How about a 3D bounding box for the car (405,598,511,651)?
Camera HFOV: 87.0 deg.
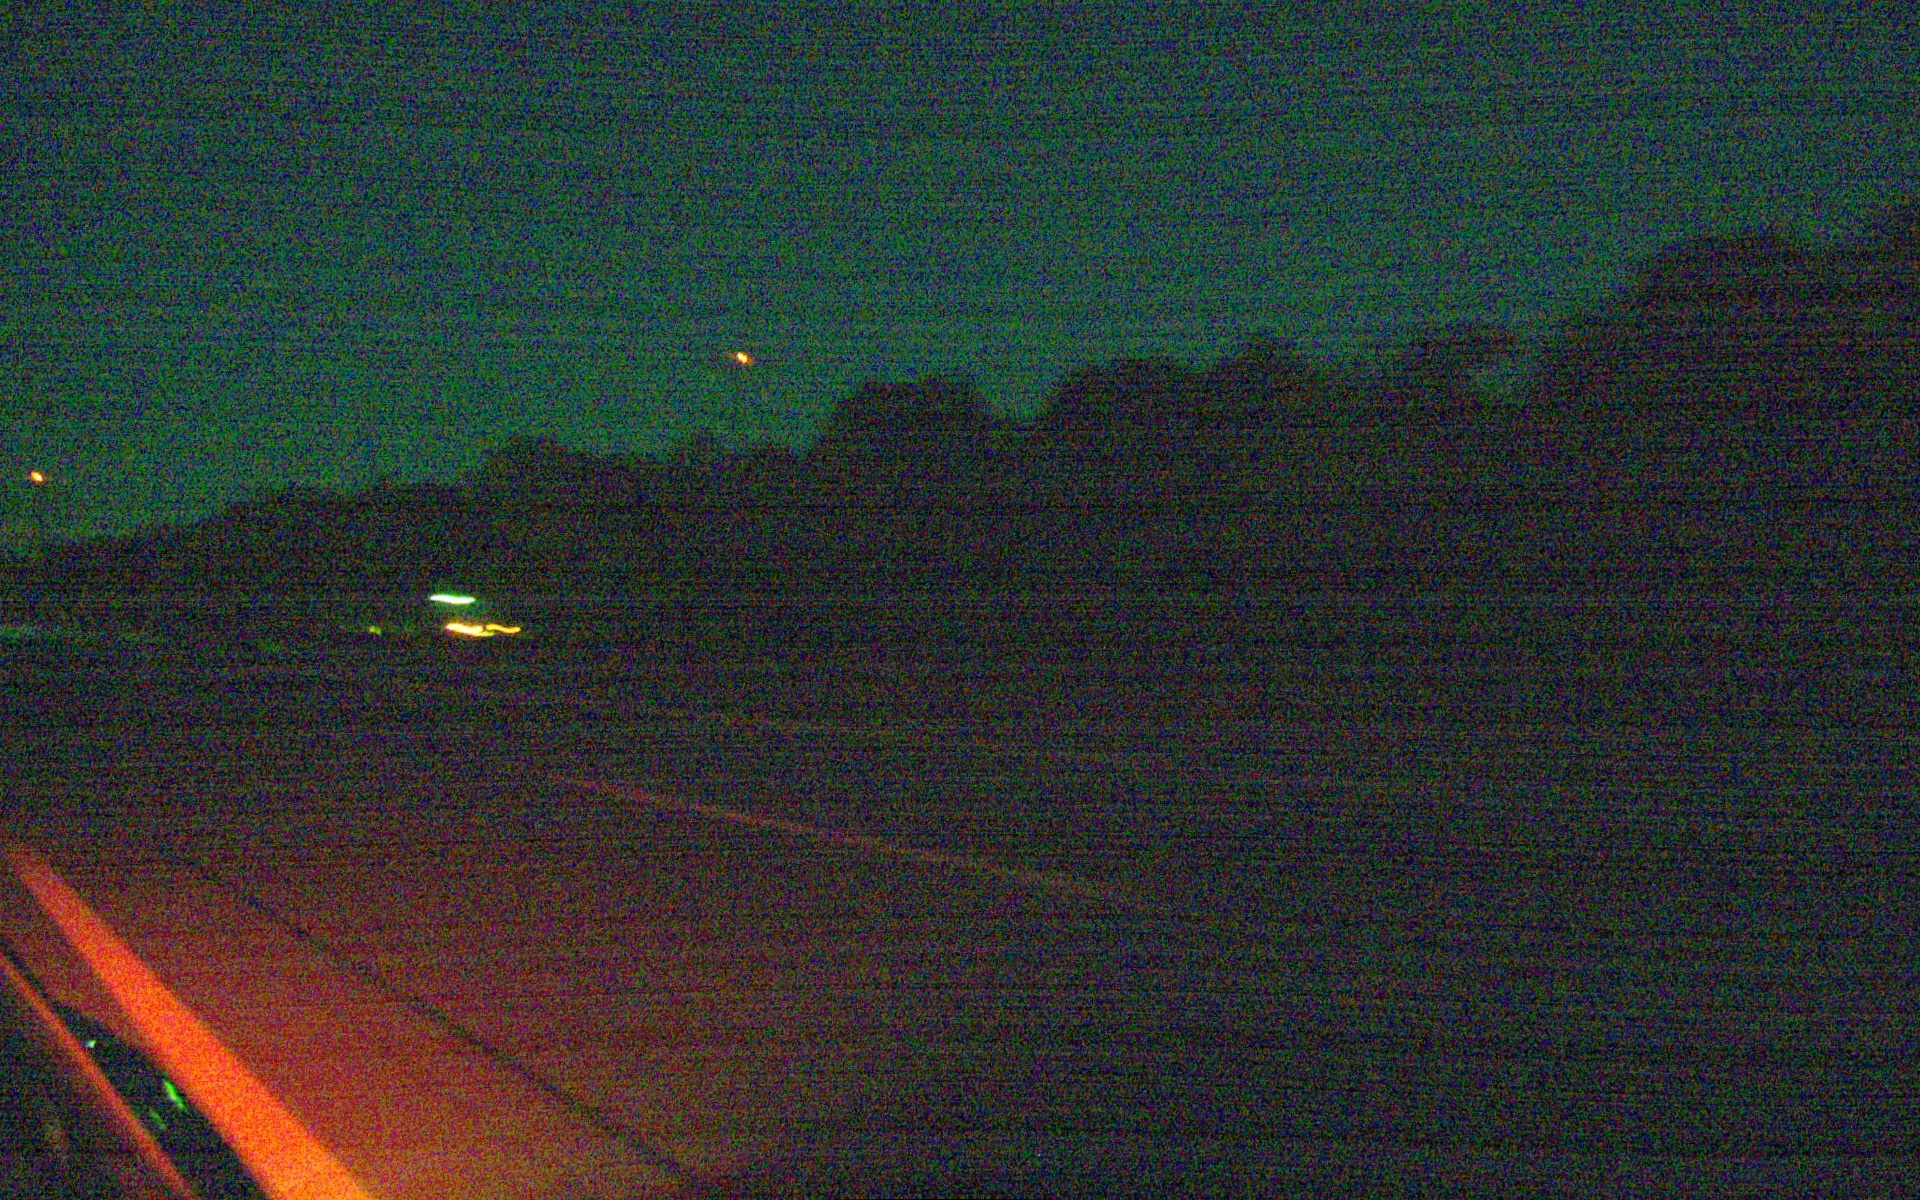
[{"bbox_3d":[-25.160,1.155,50.585,6.667,2.470,2.367,0,0,41],"label":"car"}]
